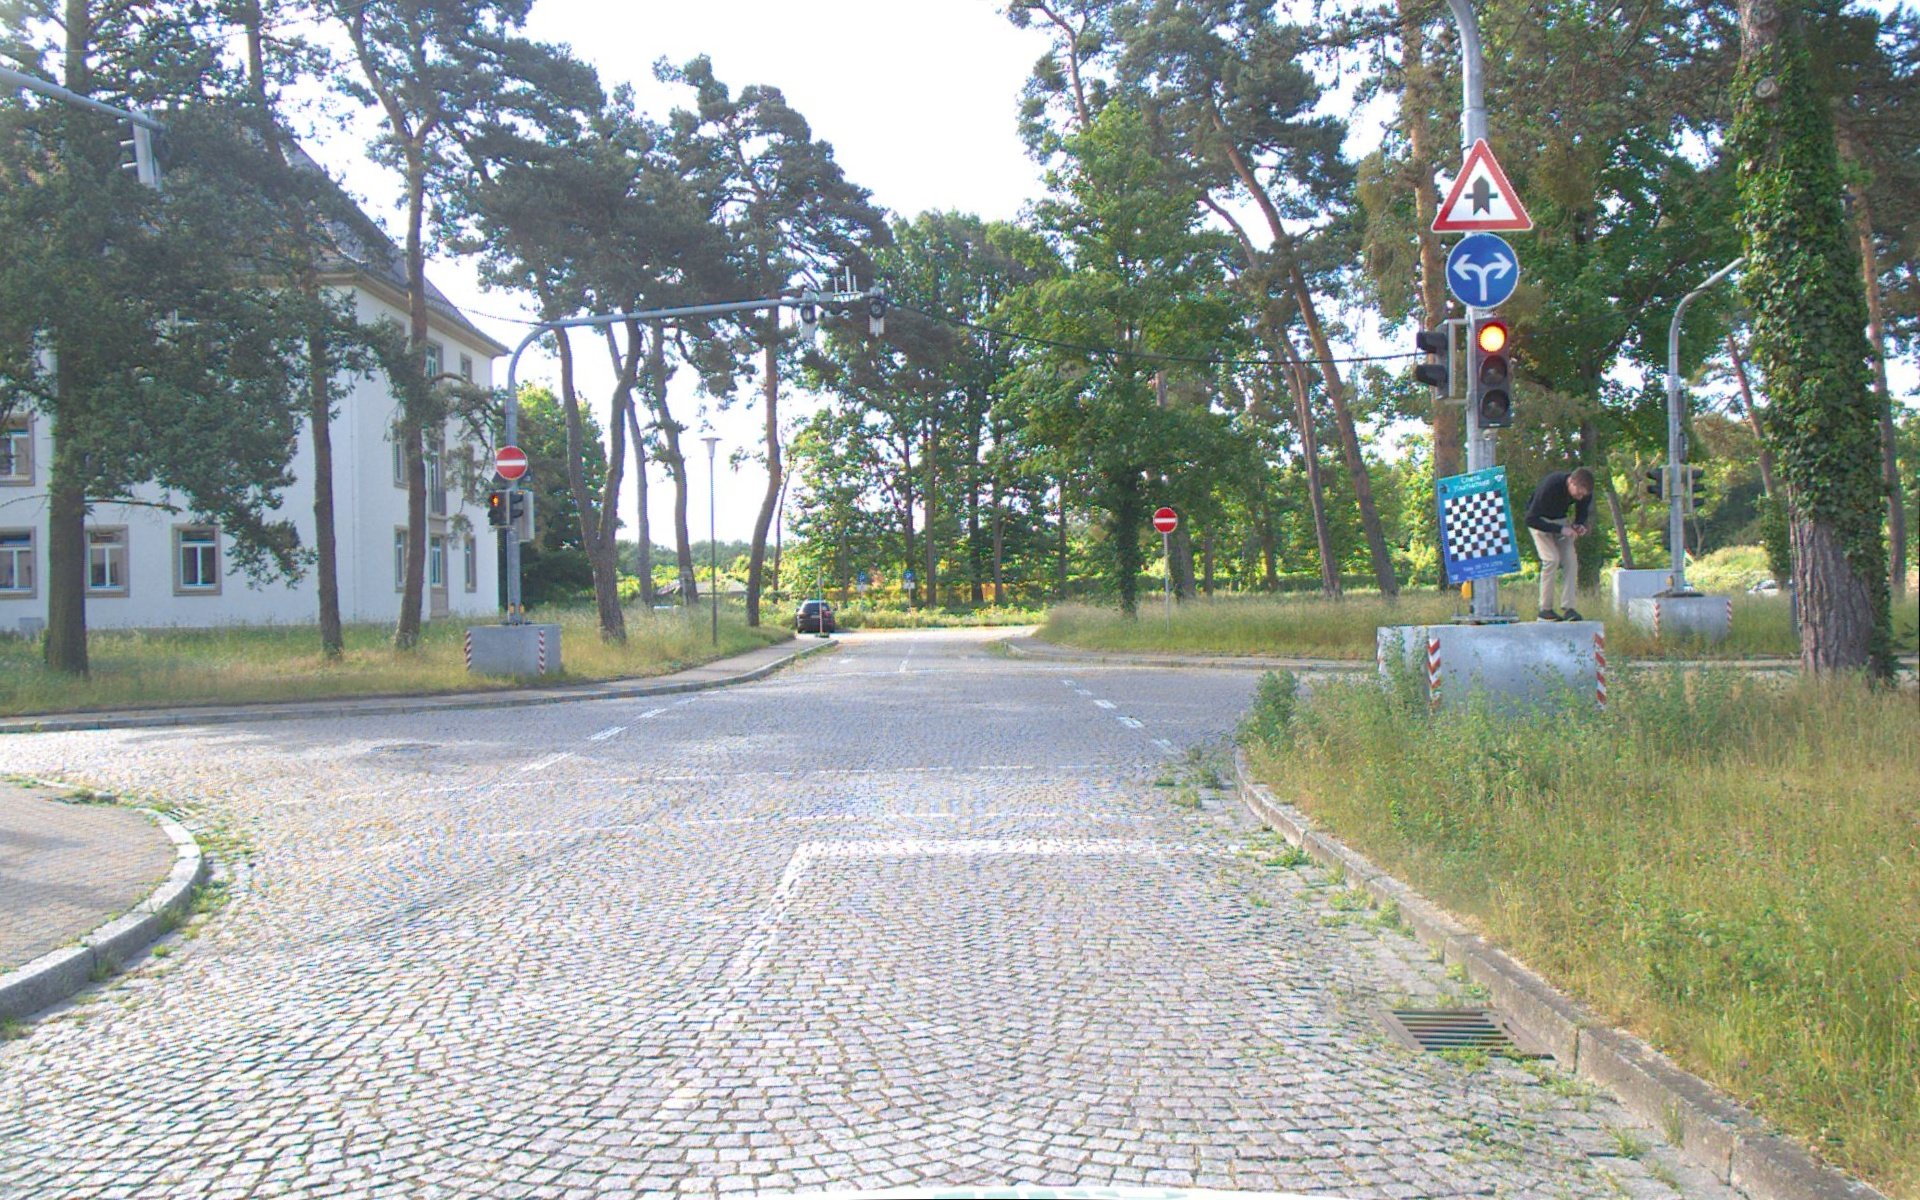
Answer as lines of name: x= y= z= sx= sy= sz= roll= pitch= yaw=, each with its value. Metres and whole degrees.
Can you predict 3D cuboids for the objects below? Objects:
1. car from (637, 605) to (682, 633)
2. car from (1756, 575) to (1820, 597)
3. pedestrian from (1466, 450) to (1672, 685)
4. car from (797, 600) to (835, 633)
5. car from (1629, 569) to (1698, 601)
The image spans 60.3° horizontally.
car: x=-14.817 y=0.925 z=81.661 sx=1.676 sy=1.296 sz=3.916 roll=-2 pitch=0 yaw=-3
car: x=44.262 y=-0.751 z=88.504 sx=1.686 sy=1.106 sz=4.003 roll=-2 pitch=0 yaw=5
pedestrian: x=4.998 y=-0.264 z=13.632 sx=1.149 sy=1.827 sz=1.058 roll=-2 pitch=0 yaw=-17
car: x=-7.030 y=0.778 z=81.096 sx=1.676 sy=1.522 sz=3.916 roll=-2 pitch=0 yaw=-3
car: x=37.372 y=-0.792 z=87.969 sx=1.790 sy=1.609 sz=4.162 roll=-2 pitch=0 yaw=-1
